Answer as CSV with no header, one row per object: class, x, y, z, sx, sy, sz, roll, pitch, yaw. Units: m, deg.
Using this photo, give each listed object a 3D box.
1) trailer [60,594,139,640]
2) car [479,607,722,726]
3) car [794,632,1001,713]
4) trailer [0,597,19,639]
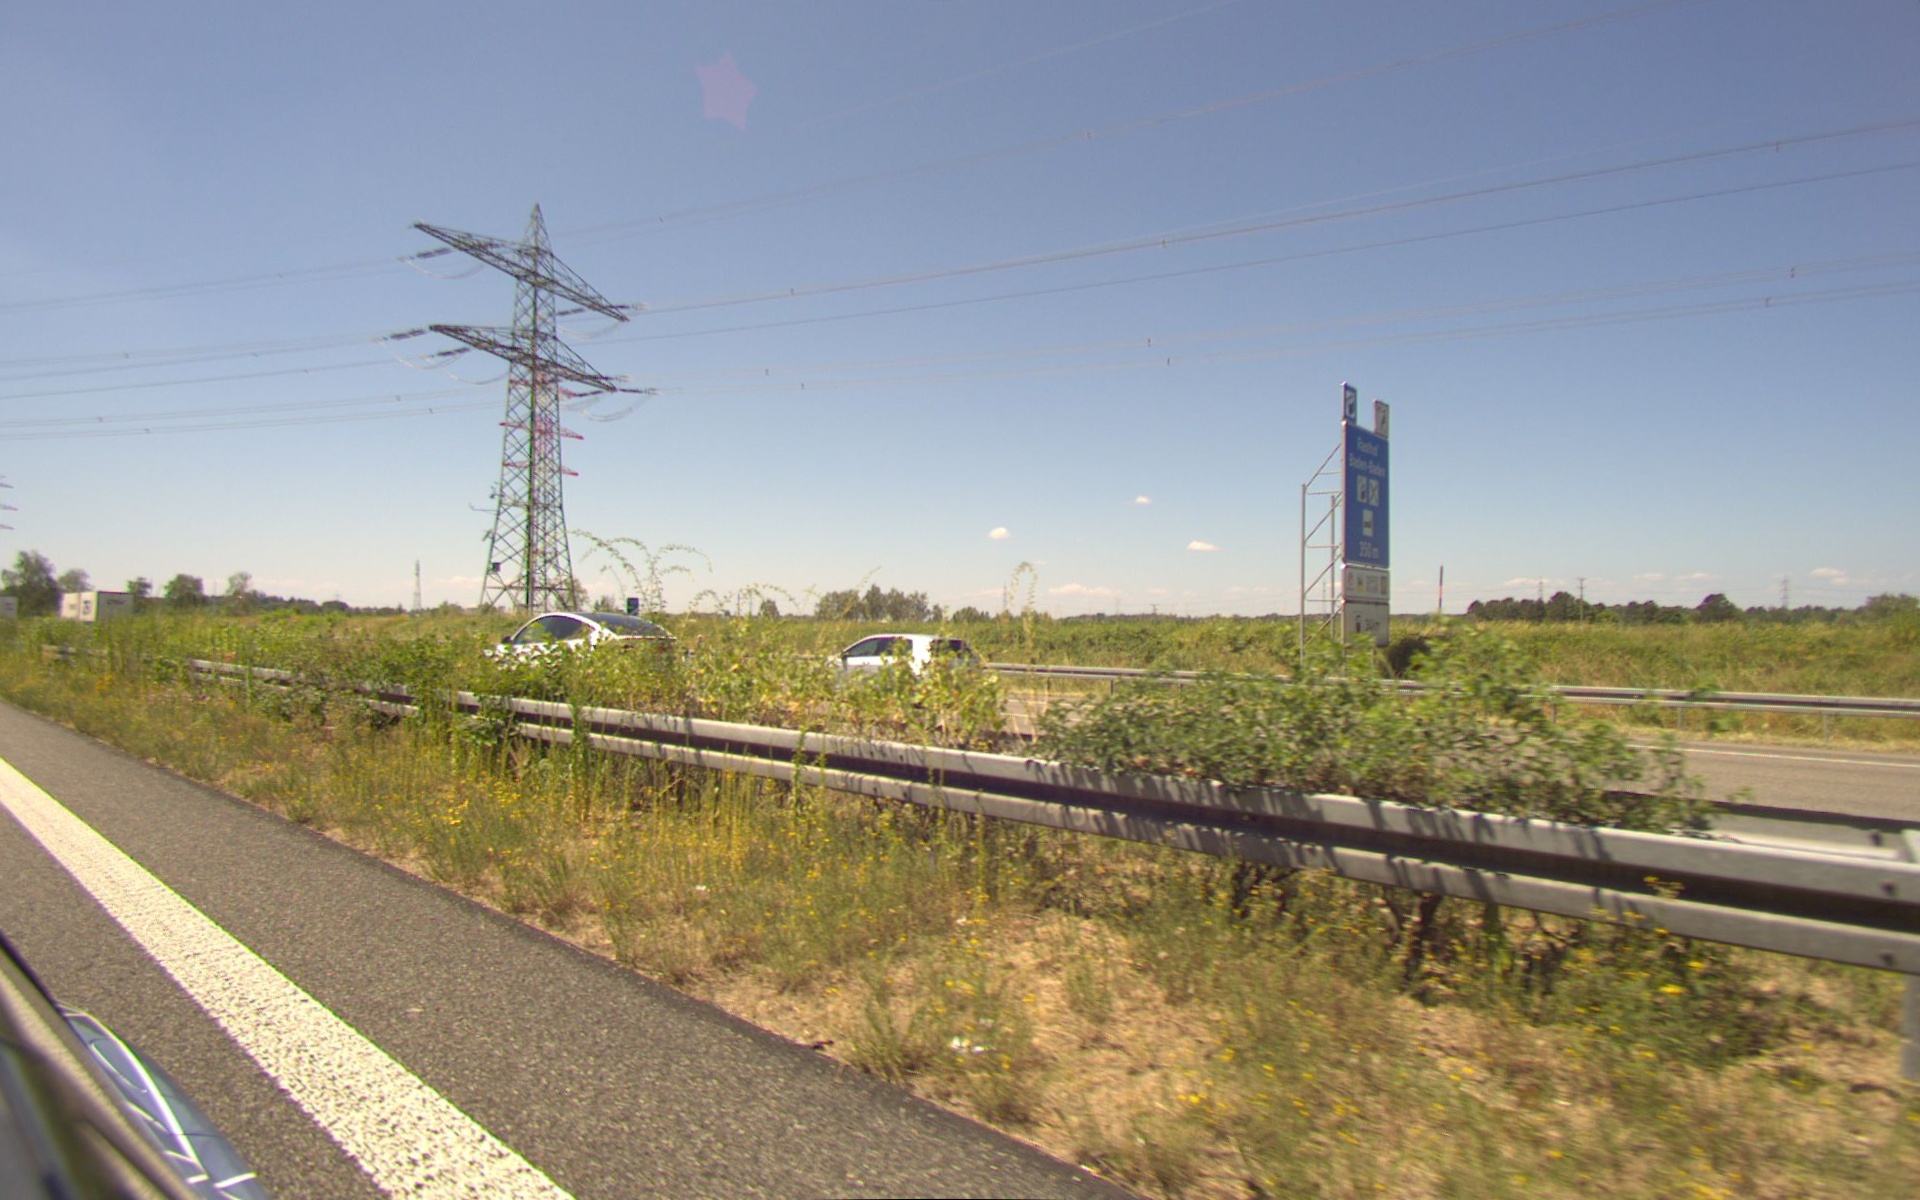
trailer,-76.743,1.577,90.053,15.969,3.851,2.824,-1,-2,41
car,-5.948,1.002,16.516,4.266,1.697,1.794,-1,-2,39
car,-1.338,1.393,20.501,4.266,1.445,1.578,-1,-2,39
trailer,-102.261,1.918,106.794,14.318,4.270,2.564,-1,-3,40
